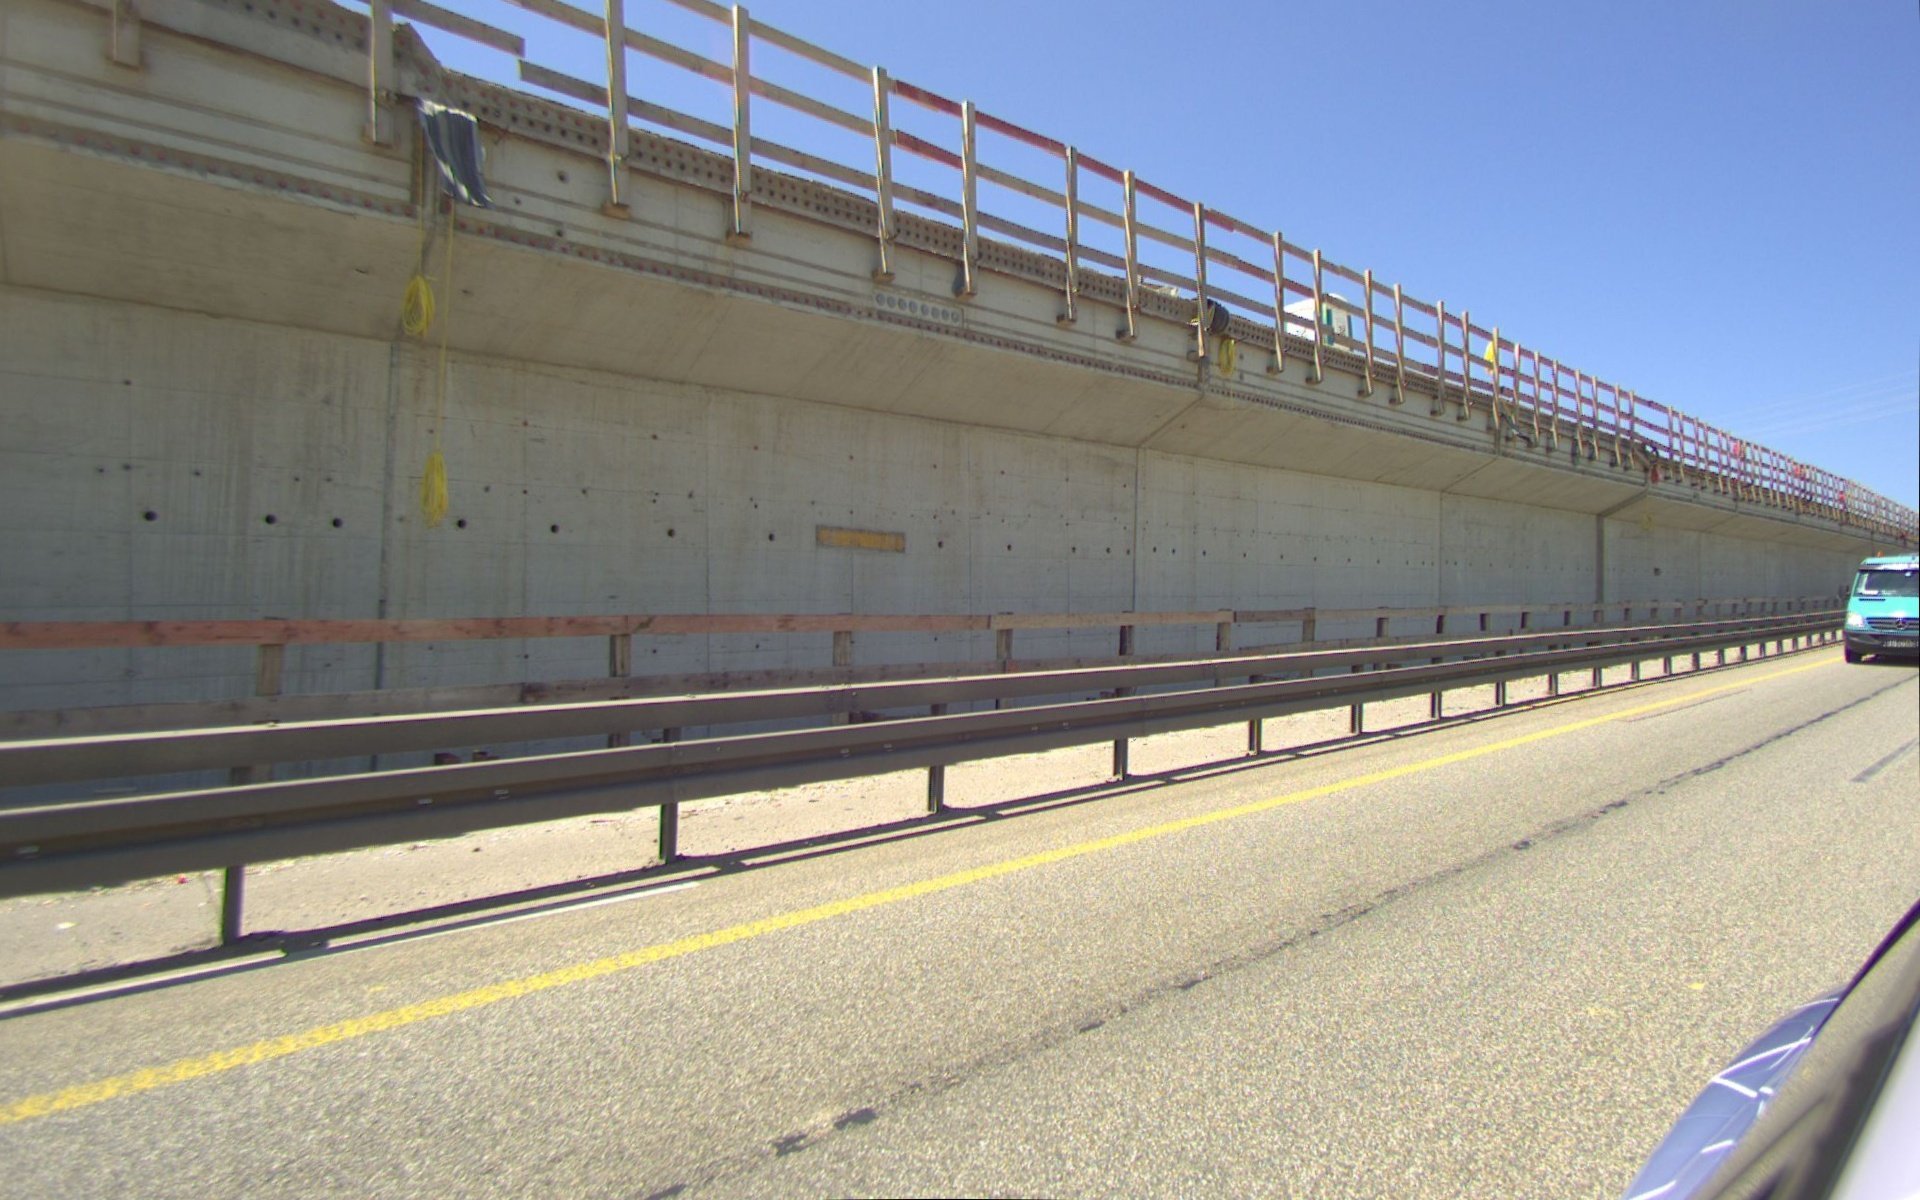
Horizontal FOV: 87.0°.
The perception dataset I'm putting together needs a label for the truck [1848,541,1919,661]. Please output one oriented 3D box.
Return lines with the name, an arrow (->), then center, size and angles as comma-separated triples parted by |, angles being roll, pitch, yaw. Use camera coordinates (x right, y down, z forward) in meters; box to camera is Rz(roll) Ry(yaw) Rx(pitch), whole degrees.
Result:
truck -> 21.767, -0.068, 22.429 | 7.303, 2.386, 2.138 | -2, 1, -41
